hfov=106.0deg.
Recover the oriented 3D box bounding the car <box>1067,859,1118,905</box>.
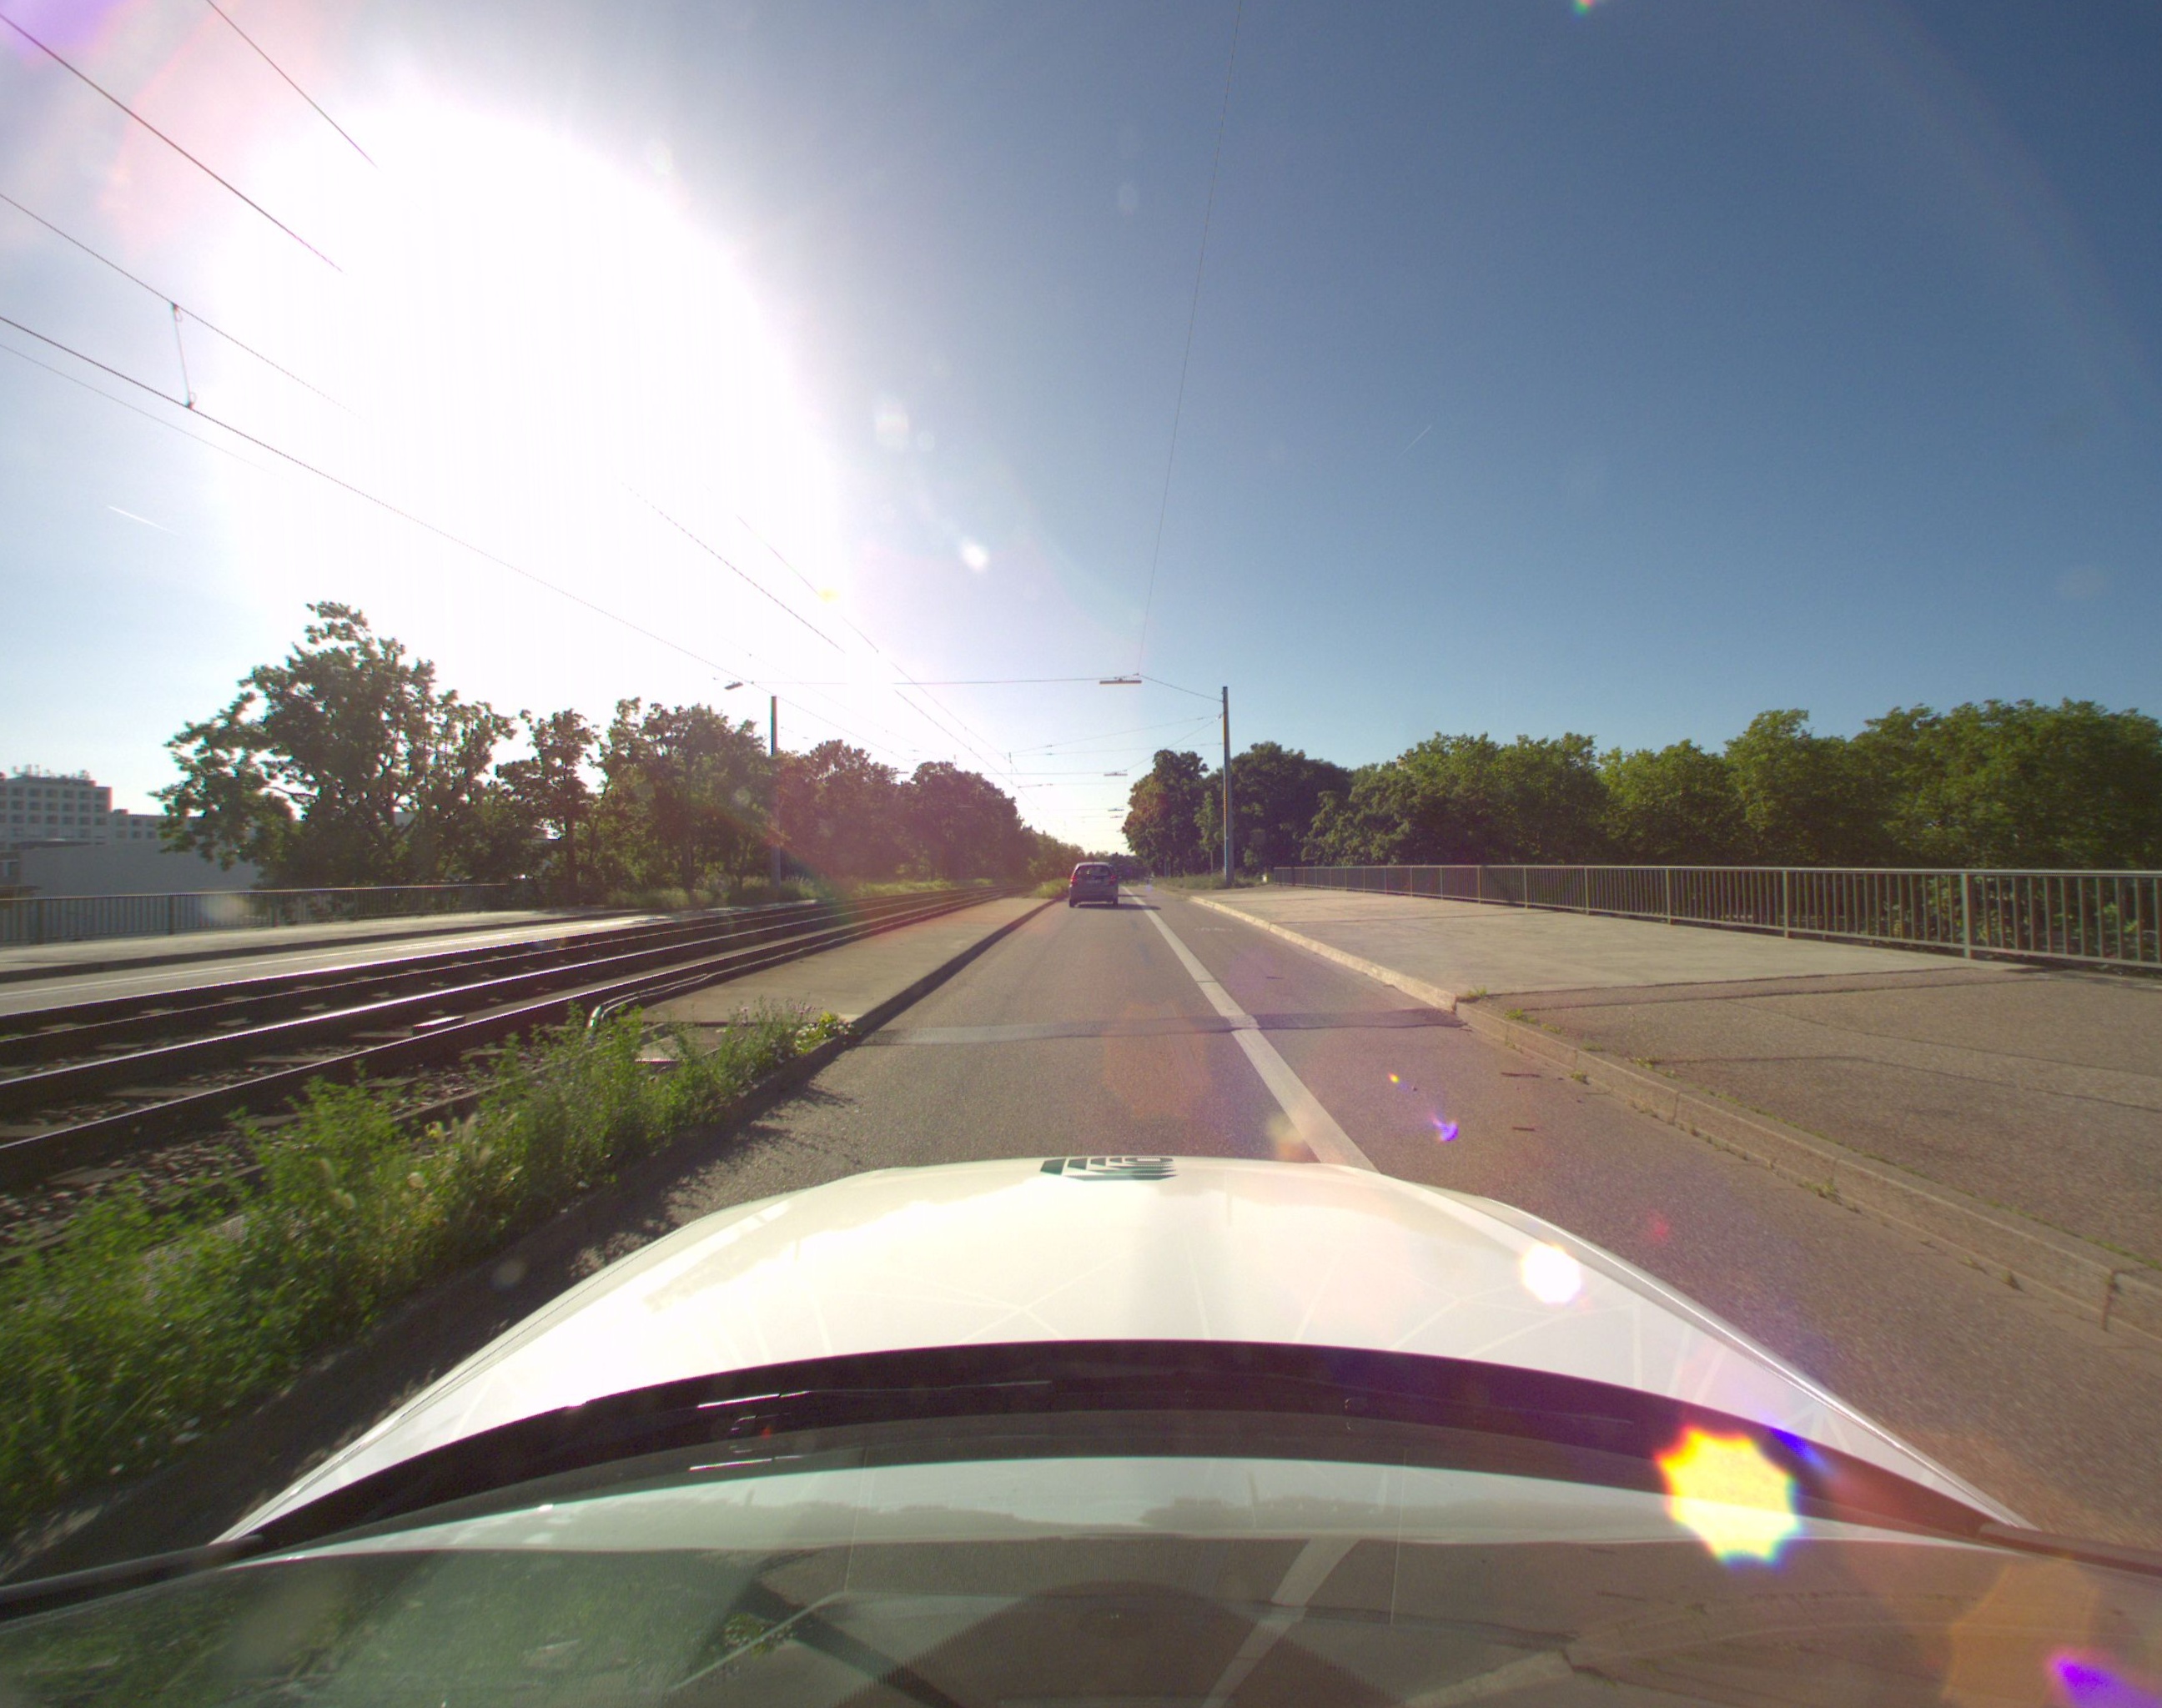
[{"bbox_3d":[0.479,0.964,28.822,1.663,1.508,3.813,0,-1,3],"label":"car"}]

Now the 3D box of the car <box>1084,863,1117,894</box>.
[{"bbox_3d":[1.052,1.255,42.768,1.648,1.507,3.814,0,0,3],"label":"car"}]
